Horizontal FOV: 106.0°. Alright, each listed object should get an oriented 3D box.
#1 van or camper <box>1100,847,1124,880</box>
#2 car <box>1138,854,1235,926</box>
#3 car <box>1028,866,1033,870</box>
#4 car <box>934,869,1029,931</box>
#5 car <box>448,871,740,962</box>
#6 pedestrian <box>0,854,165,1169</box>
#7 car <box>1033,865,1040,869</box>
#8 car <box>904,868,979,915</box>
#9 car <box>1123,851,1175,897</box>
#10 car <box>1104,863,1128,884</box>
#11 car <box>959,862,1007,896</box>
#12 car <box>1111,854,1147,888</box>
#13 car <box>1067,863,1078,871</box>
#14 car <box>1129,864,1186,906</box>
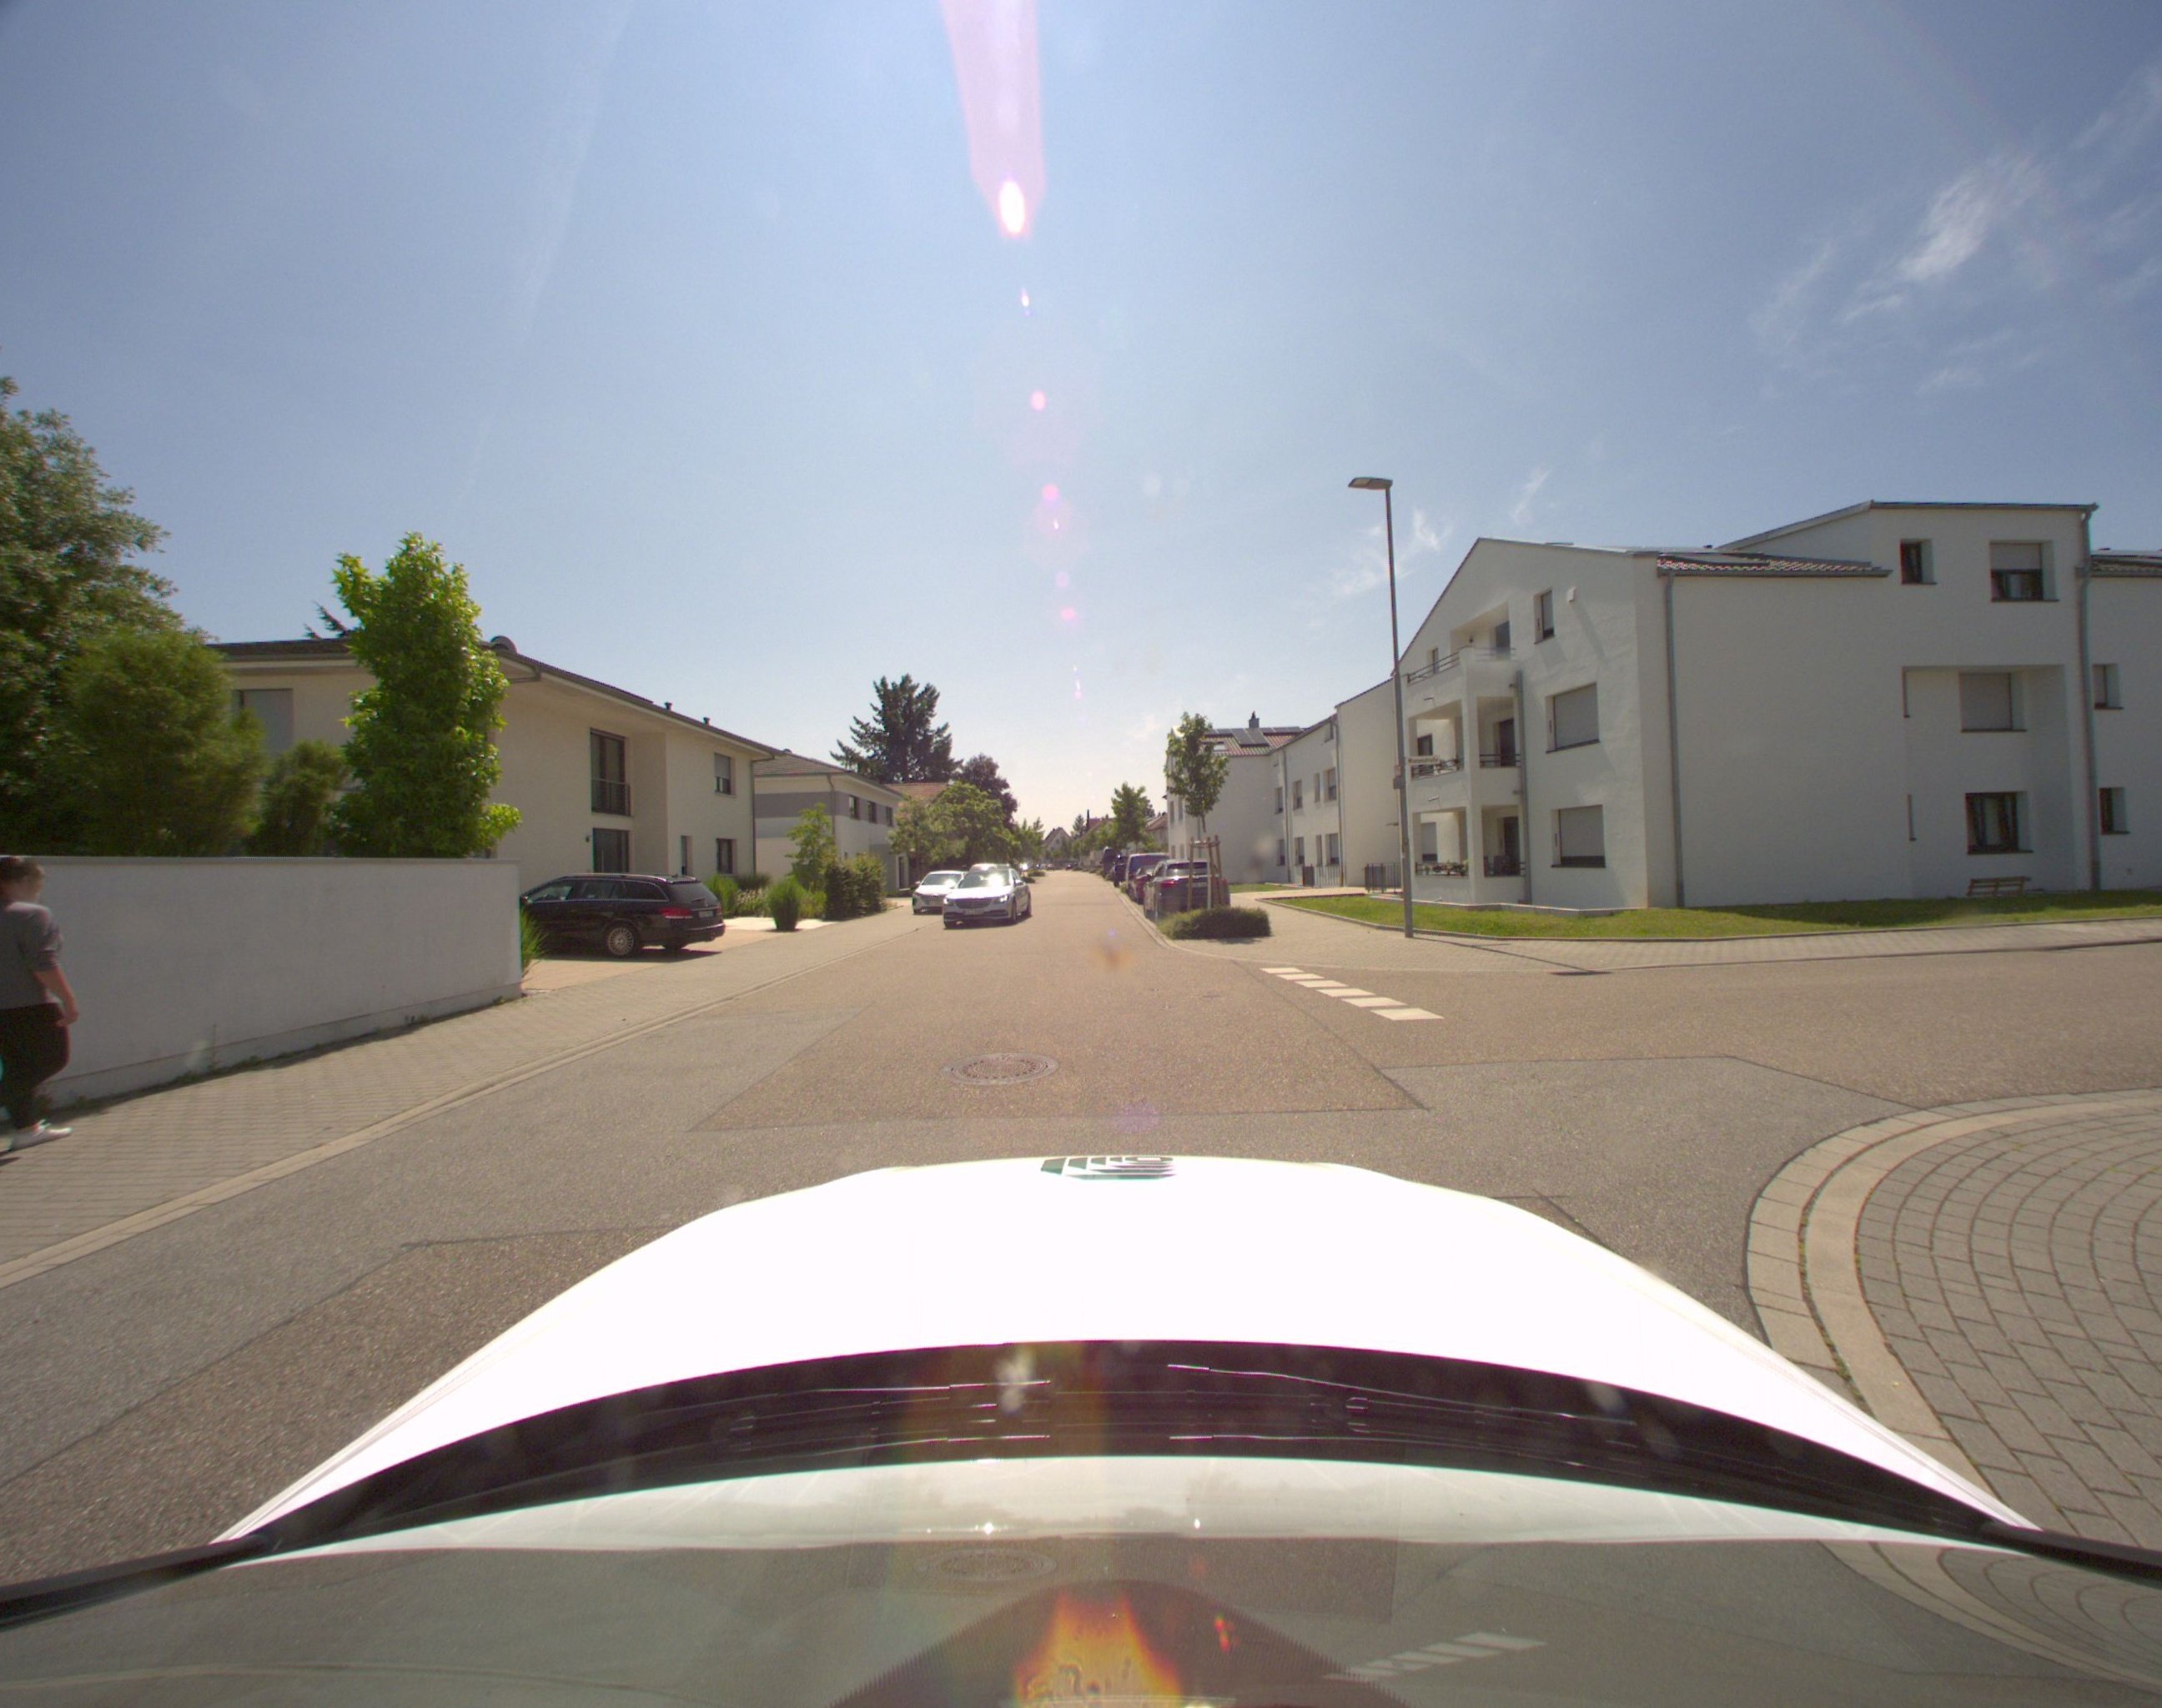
[{"bbox_3d":[2.879,0.907,76.865,1.987,2.941,4.000,-2,-1,0],"label":"van or camper"},{"bbox_3d":[2.594,0.867,20.990,1.768,1.595,4.276,-2,-1,-2],"label":"car"},{"bbox_3d":[-14.810,4.192,240.278,1.188,1.070,3.044,-2,-1,-9],"label":"car"},{"bbox_3d":[-2.647,1.197,22.820,1.845,1.478,4.702,-2,-1,2],"label":"car"},{"bbox_3d":[-9.093,1.130,15.438,4.408,1.473,1.853,1,-1,4],"label":"car"},{"bbox_3d":[-6.374,0.888,4.852,0.712,1.747,0.961,-2,-1,1],"label":"pedestrian"},{"bbox_3d":[-12.630,3.728,231.552,1.663,1.251,3.919,-2,-1,-9],"label":"car"},{"bbox_3d":[-4.965,1.304,29.531,1.845,1.488,4.385,-2,-1,1],"label":"car"},{"bbox_3d":[3.061,0.898,37.638,2.091,1.882,4.844,-2,-1,2],"label":"car"},{"bbox_3d":[2.815,1.535,66.360,1.665,1.595,3.553,-2,-1,-2],"label":"car"},{"bbox_3d":[-5.287,1.327,44.414,1.920,1.687,4.498,-2,-1,1],"label":"car"},{"bbox_3d":[2.979,1.033,51.815,1.987,1.947,5.215,-3,-1,1],"label":"car"},{"bbox_3d":[-1.797,2.736,171.178,1.987,1.574,4.000,-3,-1,1],"label":"car"},{"bbox_3d":[2.851,1.130,31.109,1.675,1.442,4.024,-2,-1,-2],"label":"car"}]
